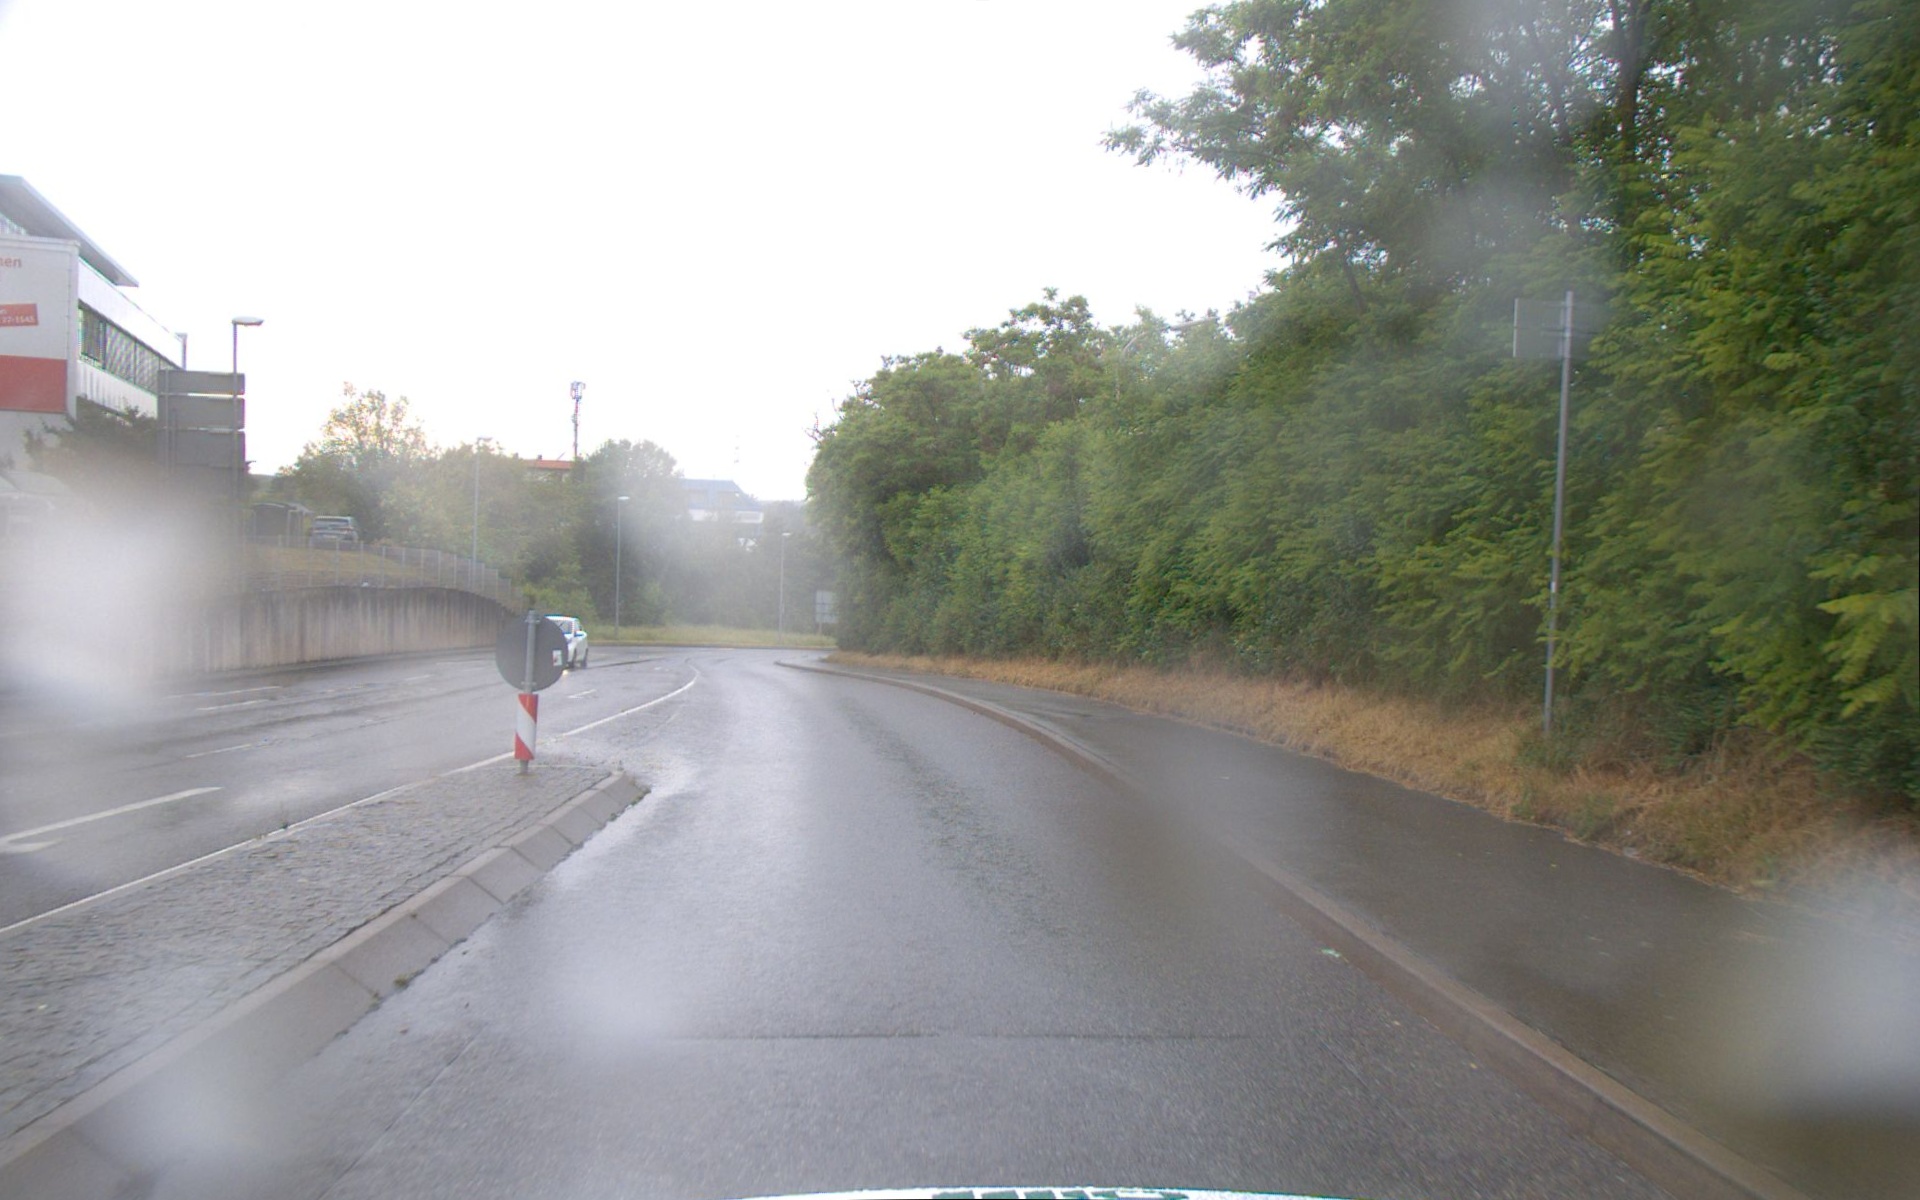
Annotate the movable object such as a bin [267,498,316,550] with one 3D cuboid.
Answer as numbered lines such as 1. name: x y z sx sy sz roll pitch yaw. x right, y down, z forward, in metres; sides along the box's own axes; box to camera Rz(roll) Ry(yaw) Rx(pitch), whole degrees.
1. movable object such as a bin: -20.625 -2.342 51.087 1.064 1.462 1.442 3 -2 -11

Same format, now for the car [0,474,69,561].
1. car: -20.353 -1.699 33.761 3.911 1.614 1.899 2 -2 28

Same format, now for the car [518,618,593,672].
1. car: -11.996 1.298 49.236 1.621 1.454 3.788 2 0 -6

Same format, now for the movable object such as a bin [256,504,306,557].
1. movable object such as a bin: -20.357 -2.080 49.624 1.064 1.462 1.442 3 -2 -11

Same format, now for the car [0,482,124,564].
1. car: -20.749 -1.712 36.746 3.911 1.614 1.899 2 -2 28

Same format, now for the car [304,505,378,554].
1. car: -22.533 -2.534 60.327 1.795 1.467 3.989 3 -1 -11
